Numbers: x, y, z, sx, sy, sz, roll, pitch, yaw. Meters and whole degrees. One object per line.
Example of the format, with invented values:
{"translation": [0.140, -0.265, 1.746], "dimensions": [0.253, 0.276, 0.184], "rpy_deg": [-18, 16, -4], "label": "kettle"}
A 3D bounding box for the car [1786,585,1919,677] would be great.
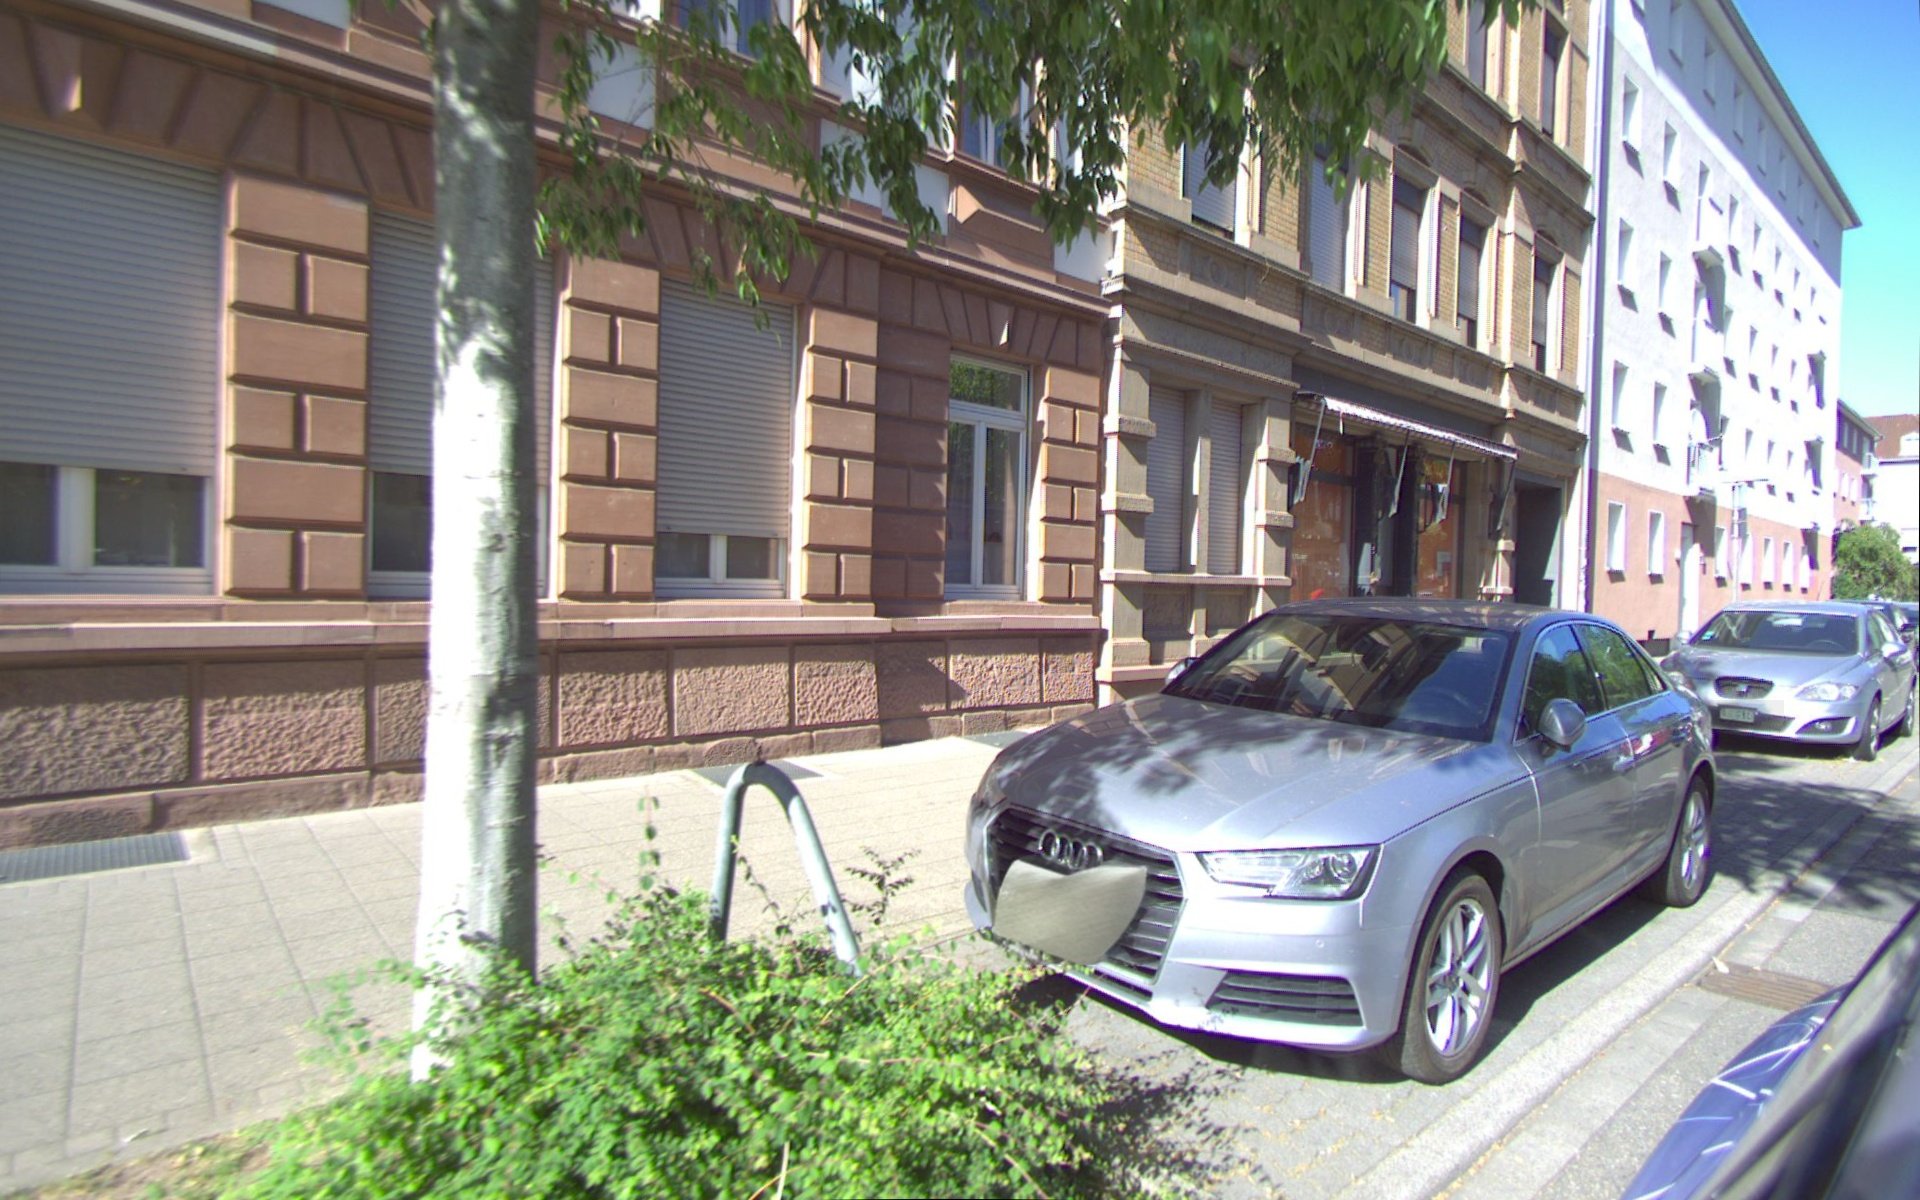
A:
{"translation": [17.039, 0.525, 19.025], "dimensions": [3.645, 1.498, 1.712], "rpy_deg": [0, 2, -41], "label": "car"}

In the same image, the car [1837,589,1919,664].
{"translation": [21.379, 0.576, 22.673], "dimensions": [4.434, 1.478, 1.791], "rpy_deg": [1, 3, -39], "label": "car"}

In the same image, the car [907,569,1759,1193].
{"translation": [1.970, 0.668, 4.498], "dimensions": [4.233, 1.469, 1.742], "rpy_deg": [0, 2, -42], "label": "car"}

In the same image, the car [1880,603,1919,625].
{"translation": [64.632, 0.980, 68.214], "dimensions": [1.540, 1.419, 3.647], "rpy_deg": [1, 2, -40], "label": "car"}

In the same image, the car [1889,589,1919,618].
{"translation": [68.989, 0.324, 71.582], "dimensions": [1.967, 2.038, 4.747], "rpy_deg": [1, 2, -44], "label": "car"}

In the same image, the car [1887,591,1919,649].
{"translation": [27.000, 0.572, 27.873], "dimensions": [3.729, 1.504, 1.735], "rpy_deg": [0, 3, -42], "label": "car"}

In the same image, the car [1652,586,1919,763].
{"translation": [8.913, 0.642, 10.675], "dimensions": [3.931, 1.469, 1.742], "rpy_deg": [0, 2, -42], "label": "car"}
